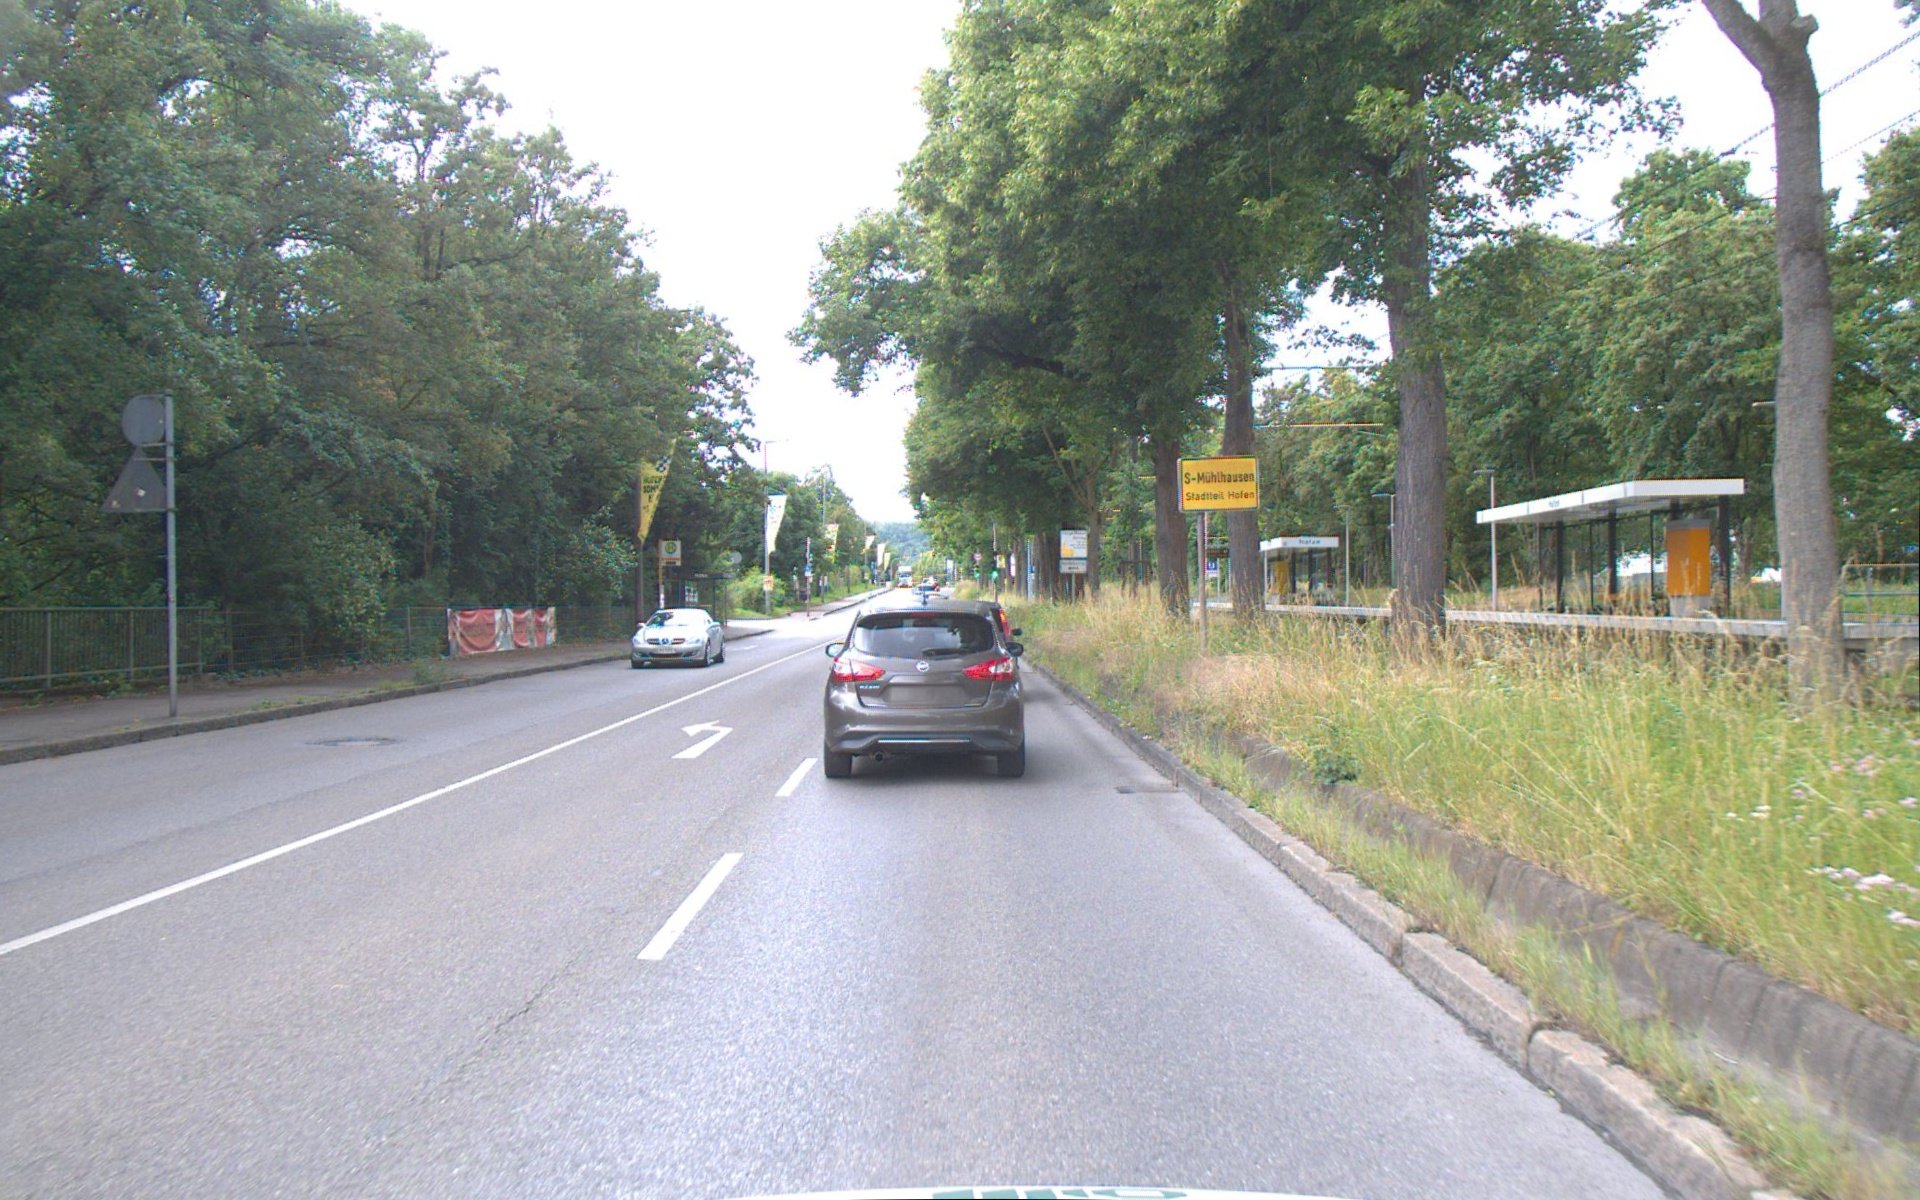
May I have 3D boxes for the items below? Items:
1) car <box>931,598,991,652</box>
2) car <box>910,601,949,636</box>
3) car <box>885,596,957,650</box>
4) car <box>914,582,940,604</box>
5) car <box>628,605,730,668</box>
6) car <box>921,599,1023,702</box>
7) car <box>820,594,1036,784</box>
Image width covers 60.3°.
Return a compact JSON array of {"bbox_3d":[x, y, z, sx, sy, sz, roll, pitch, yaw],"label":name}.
[{"bbox_3d":[-0.009,0.689,47.541,1.657,1.466,3.541,0,0,-1],"label":"car"},{"bbox_3d":[-1.311,0.777,71.484,1.657,1.466,3.541,0,0,-1],"label":"car"},{"bbox_3d":[-1.114,0.651,47.866,1.953,1.437,3.999,1,-1,-1],"label":"car"},{"bbox_3d":[-2.505,-0.498,127.353,1.953,1.601,3.999,1,-1,-1],"label":"car"},{"bbox_3d":[-6.411,0.795,38.099,1.722,1.360,3.695,0,0,0],"label":"car"},{"bbox_3d":[0.144,0.729,25.753,1.471,1.466,3.541,0,0,-1],"label":"car"},{"bbox_3d":[-0.271,0.726,15.343,1.747,1.533,3.695,0,0,0],"label":"car"}]
